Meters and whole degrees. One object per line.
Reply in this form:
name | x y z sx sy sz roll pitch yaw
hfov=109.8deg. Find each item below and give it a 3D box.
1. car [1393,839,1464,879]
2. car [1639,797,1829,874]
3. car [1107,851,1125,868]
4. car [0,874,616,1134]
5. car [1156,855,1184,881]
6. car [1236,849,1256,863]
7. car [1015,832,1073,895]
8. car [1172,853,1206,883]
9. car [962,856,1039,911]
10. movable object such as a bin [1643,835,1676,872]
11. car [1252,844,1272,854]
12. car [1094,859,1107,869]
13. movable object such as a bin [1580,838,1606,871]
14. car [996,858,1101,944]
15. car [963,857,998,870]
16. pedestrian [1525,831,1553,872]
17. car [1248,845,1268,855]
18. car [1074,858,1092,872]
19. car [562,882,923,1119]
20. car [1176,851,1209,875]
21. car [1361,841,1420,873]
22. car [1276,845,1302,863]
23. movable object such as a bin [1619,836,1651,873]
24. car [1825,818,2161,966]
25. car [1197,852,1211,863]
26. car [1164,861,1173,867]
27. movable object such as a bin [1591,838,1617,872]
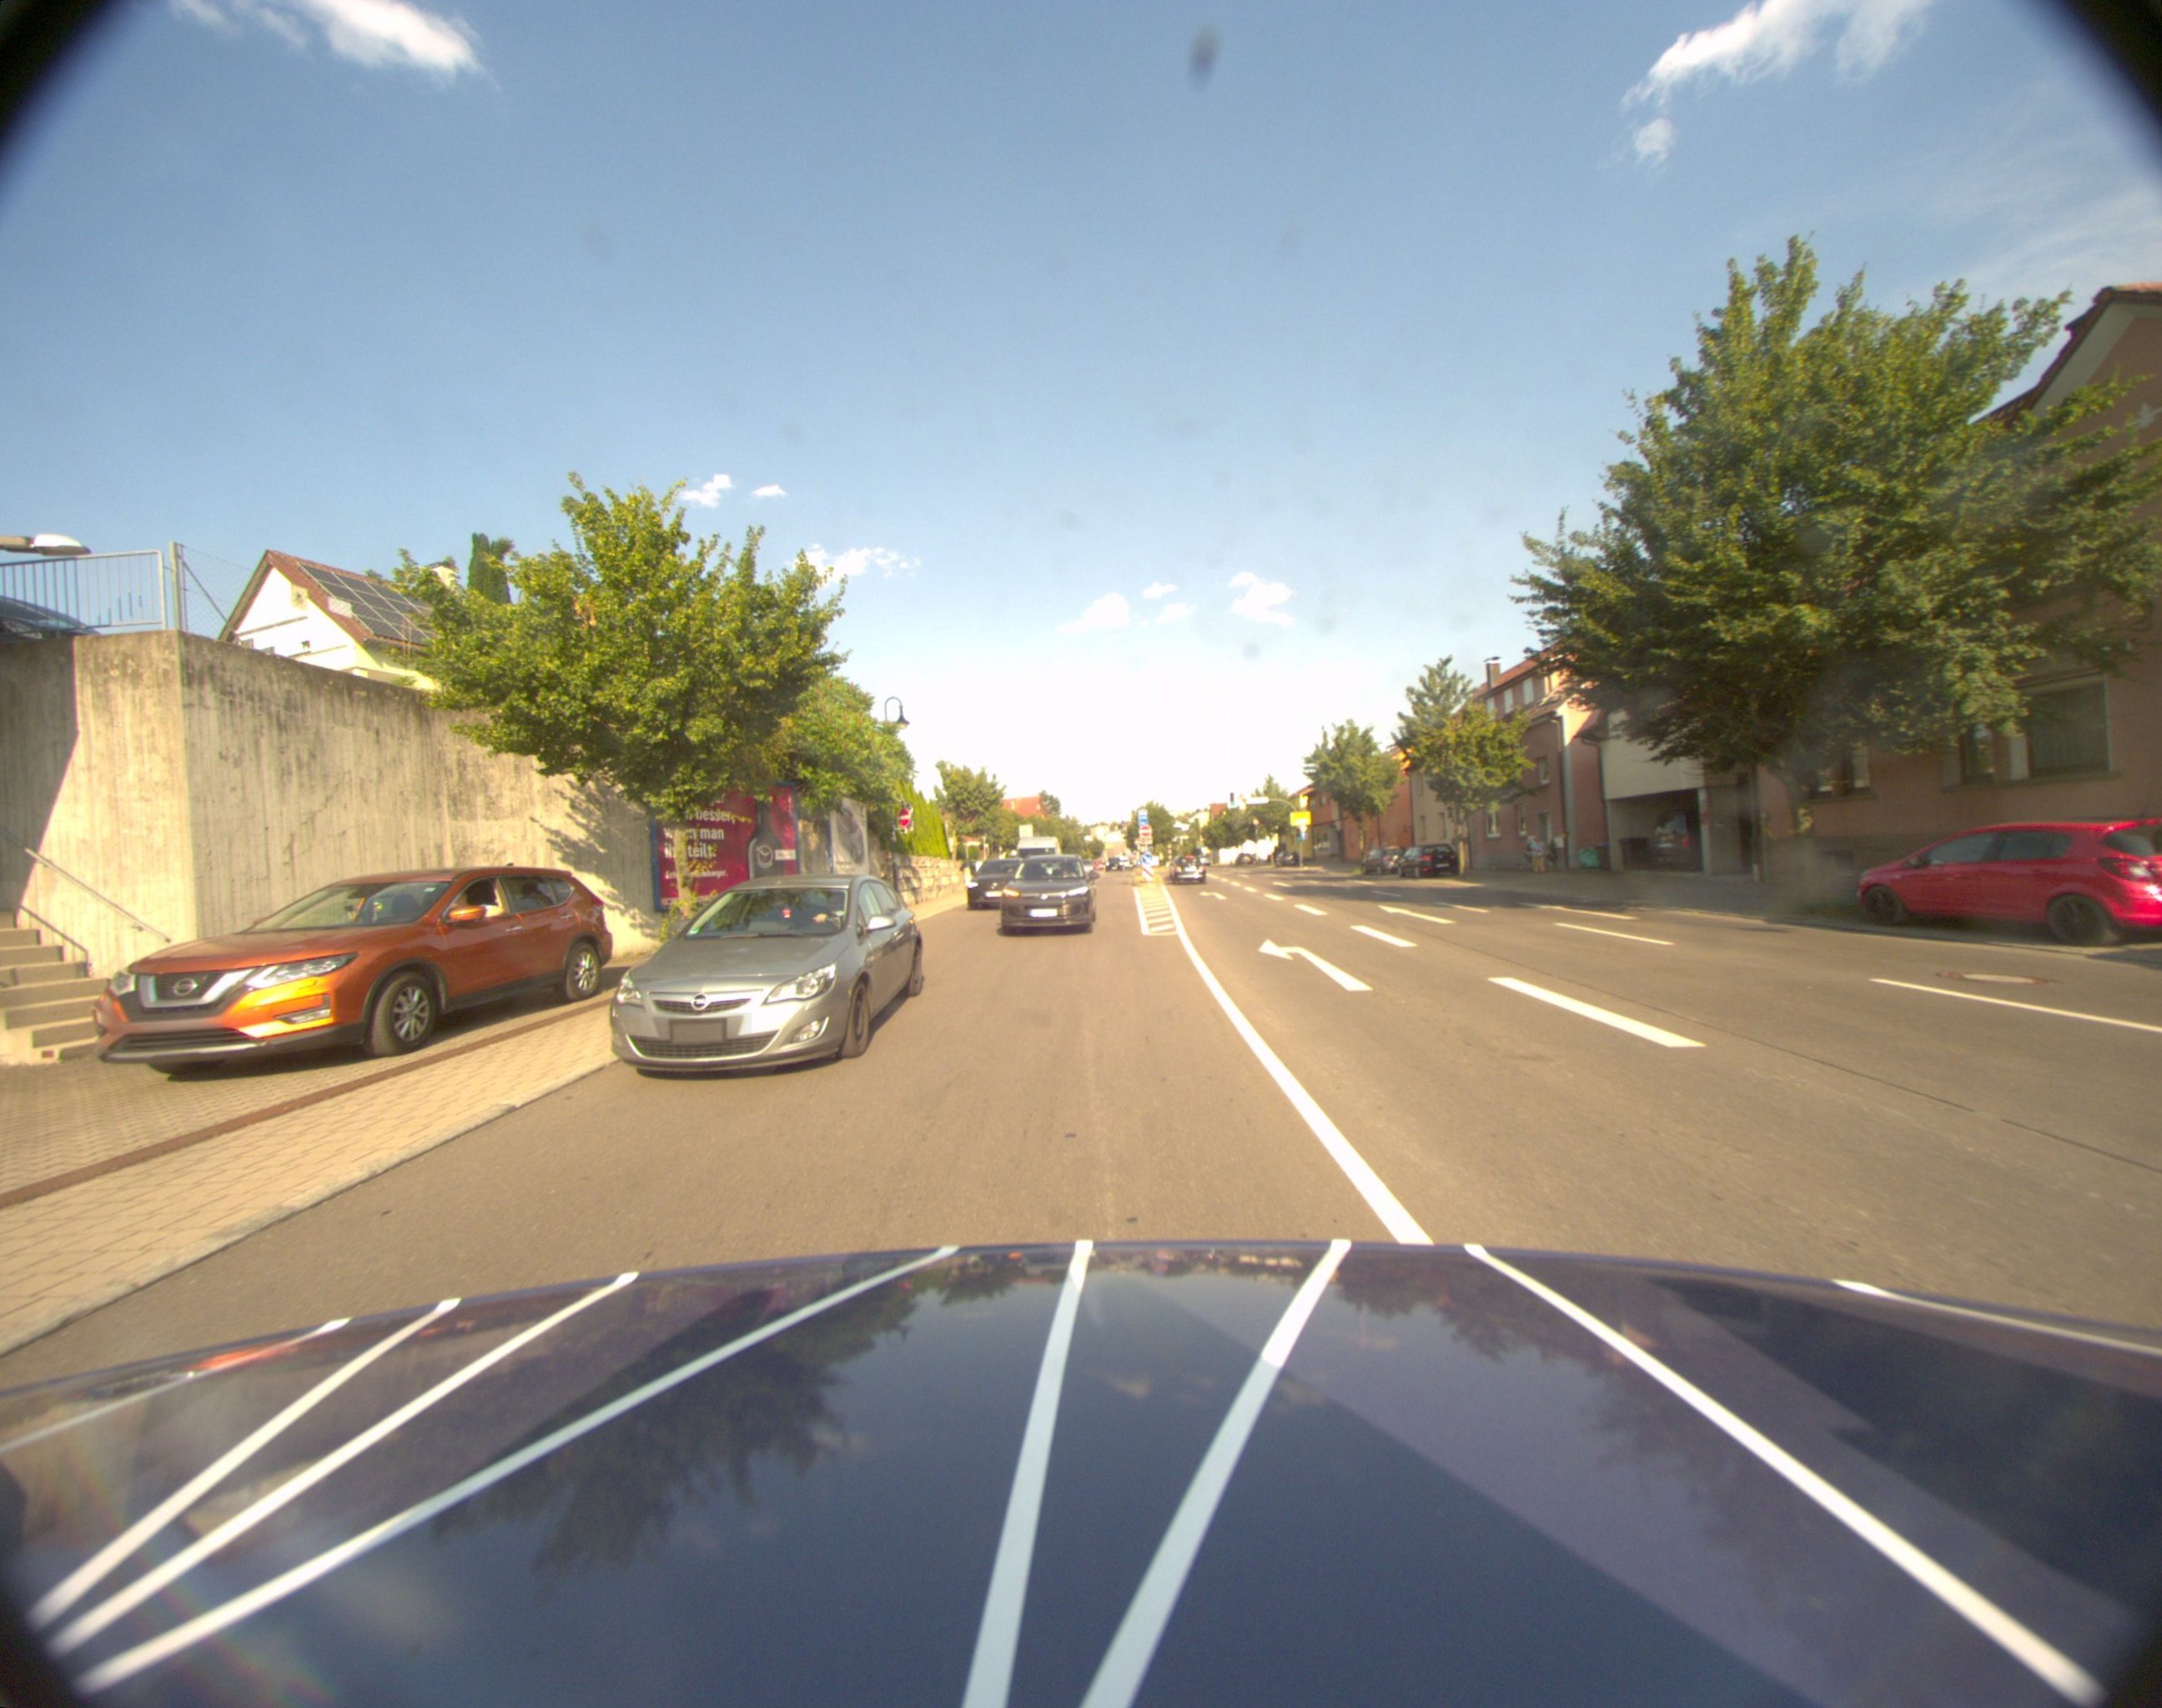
car | 15.251 0.201 33.510 1.669 1.523 3.905 -5 0 8
car | 19.108 -0.507 22.400 3.829 1.870 1.780 -5 0 6
car | 4.073 0.628 88.659 1.815 1.860 4.002 -3 0 6
car | -6.847 1.106 7.653 1.840 1.639 4.536 -3 0 -6
car | 5.411 0.808 46.346 1.592 1.419 3.579 -2 0 6
car | 20.508 0.300 94.516 1.859 1.586 4.462 -3 0 6
car | -1.659 0.450 36.856 2.039 2.642 6.651 -3 -1 3
car | 5.633 0.714 39.799 1.535 1.453 3.507 -3 0 5
car | -2.565 0.921 25.077 1.791 1.596 4.058 -2 -1 4
movable object such as a bin | 18.757 -0.015 24.641 0.567 1.136 0.576 -3 0 -1
car | 31.808 -0.848 133.531 3.437 1.534 1.617 -2 -1 -35
car | 3.021 1.509 116.938 1.529 1.353 2.794 -3 0 7
movable object such as a bin | 18.479 0.022 27.421 0.552 1.136 0.530 -3 0 7
car | -0.577 0.921 16.633 1.767 1.582 4.058 -3 -1 4
car | -12.731 1.257 96.364 4.072 1.447 1.681 -3 0 16
pedestrian | 18.359 -0.081 30.472 0.777 1.597 0.723 -2 0 15
car | 31.928 -0.746 136.856 3.437 1.555 1.583 -2 0 -35
car | 0.233 1.113 76.903 1.515 1.353 2.956 -3 0 4
car | -2.662 1.044 7.106 1.652 1.414 4.143 -1 -1 -3
car | 7.646 0.613 52.286 1.839 1.479 4.568 -3 -1 4
car | 15.952 0.161 39.329 1.515 1.501 3.887 -4 -1 3
car | 18.858 0.031 68.938 1.595 1.430 3.777 -7 -1 8
movable object such as a bin | 17.918 0.022 24.578 0.567 1.136 0.576 -3 0 -1
car | 12.472 0.378 10.037 1.669 1.478 4.002 -5 0 9
car | 18.665 0.487 115.635 1.689 1.602 4.414 -3 0 4
car | 20.329 2.328 176.605 1.761 1.403 4.001 -3 0 3
movable object such as a bin | 17.696 0.035 25.709 0.476 1.130 0.501 -3 0 4
